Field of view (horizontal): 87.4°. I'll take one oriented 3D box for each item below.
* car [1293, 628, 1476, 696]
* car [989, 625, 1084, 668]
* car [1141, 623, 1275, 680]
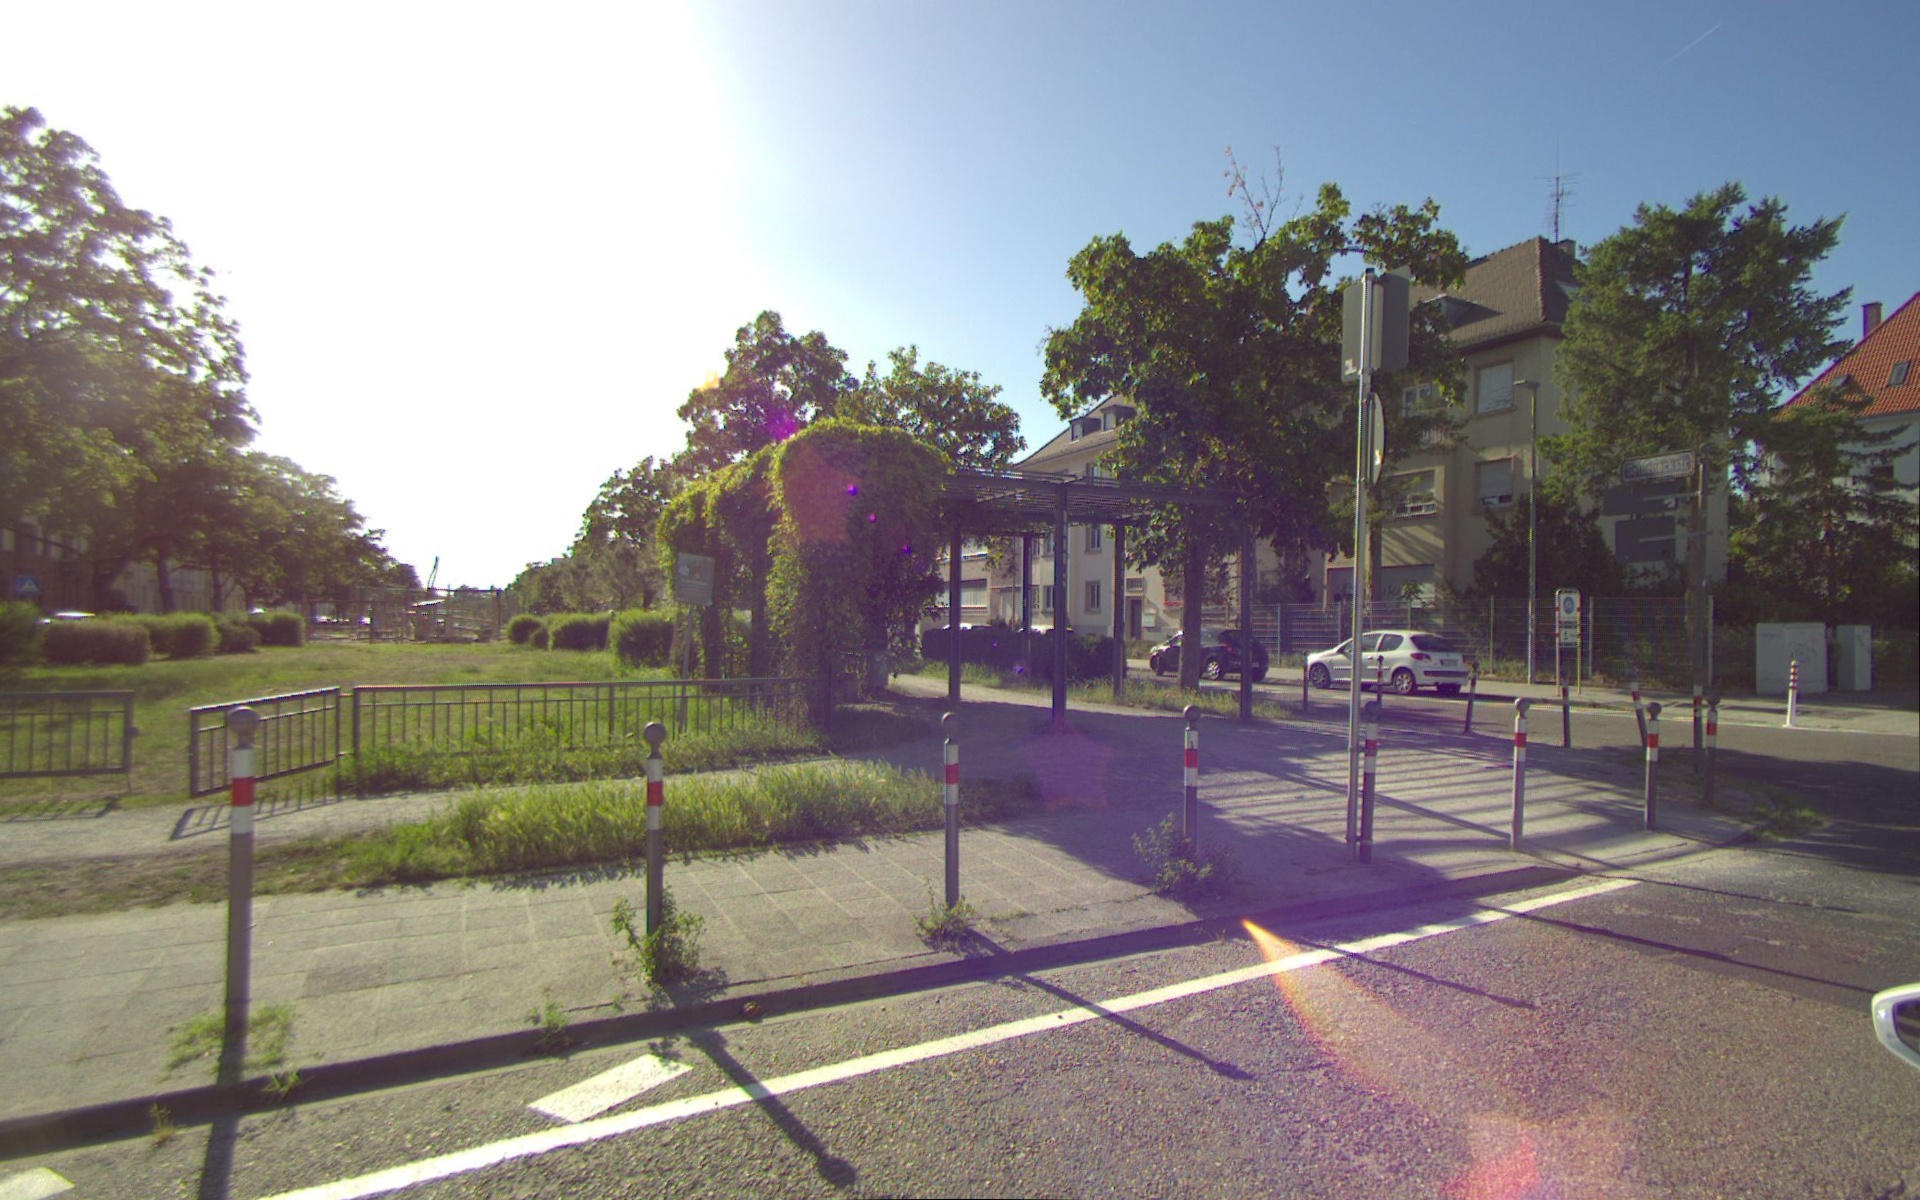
[{"bbox_3d":[9.812,1.398,23.469,1.685,1.416,3.751,2,-2,-27],"label":"car"},{"bbox_3d":[2.821,1.726,37.806,1.778,1.514,3.974,2,-2,-26],"label":"car"},{"bbox_3d":[7.007,1.439,28.694,1.655,1.514,3.801,2,-2,-26],"label":"car"}]
